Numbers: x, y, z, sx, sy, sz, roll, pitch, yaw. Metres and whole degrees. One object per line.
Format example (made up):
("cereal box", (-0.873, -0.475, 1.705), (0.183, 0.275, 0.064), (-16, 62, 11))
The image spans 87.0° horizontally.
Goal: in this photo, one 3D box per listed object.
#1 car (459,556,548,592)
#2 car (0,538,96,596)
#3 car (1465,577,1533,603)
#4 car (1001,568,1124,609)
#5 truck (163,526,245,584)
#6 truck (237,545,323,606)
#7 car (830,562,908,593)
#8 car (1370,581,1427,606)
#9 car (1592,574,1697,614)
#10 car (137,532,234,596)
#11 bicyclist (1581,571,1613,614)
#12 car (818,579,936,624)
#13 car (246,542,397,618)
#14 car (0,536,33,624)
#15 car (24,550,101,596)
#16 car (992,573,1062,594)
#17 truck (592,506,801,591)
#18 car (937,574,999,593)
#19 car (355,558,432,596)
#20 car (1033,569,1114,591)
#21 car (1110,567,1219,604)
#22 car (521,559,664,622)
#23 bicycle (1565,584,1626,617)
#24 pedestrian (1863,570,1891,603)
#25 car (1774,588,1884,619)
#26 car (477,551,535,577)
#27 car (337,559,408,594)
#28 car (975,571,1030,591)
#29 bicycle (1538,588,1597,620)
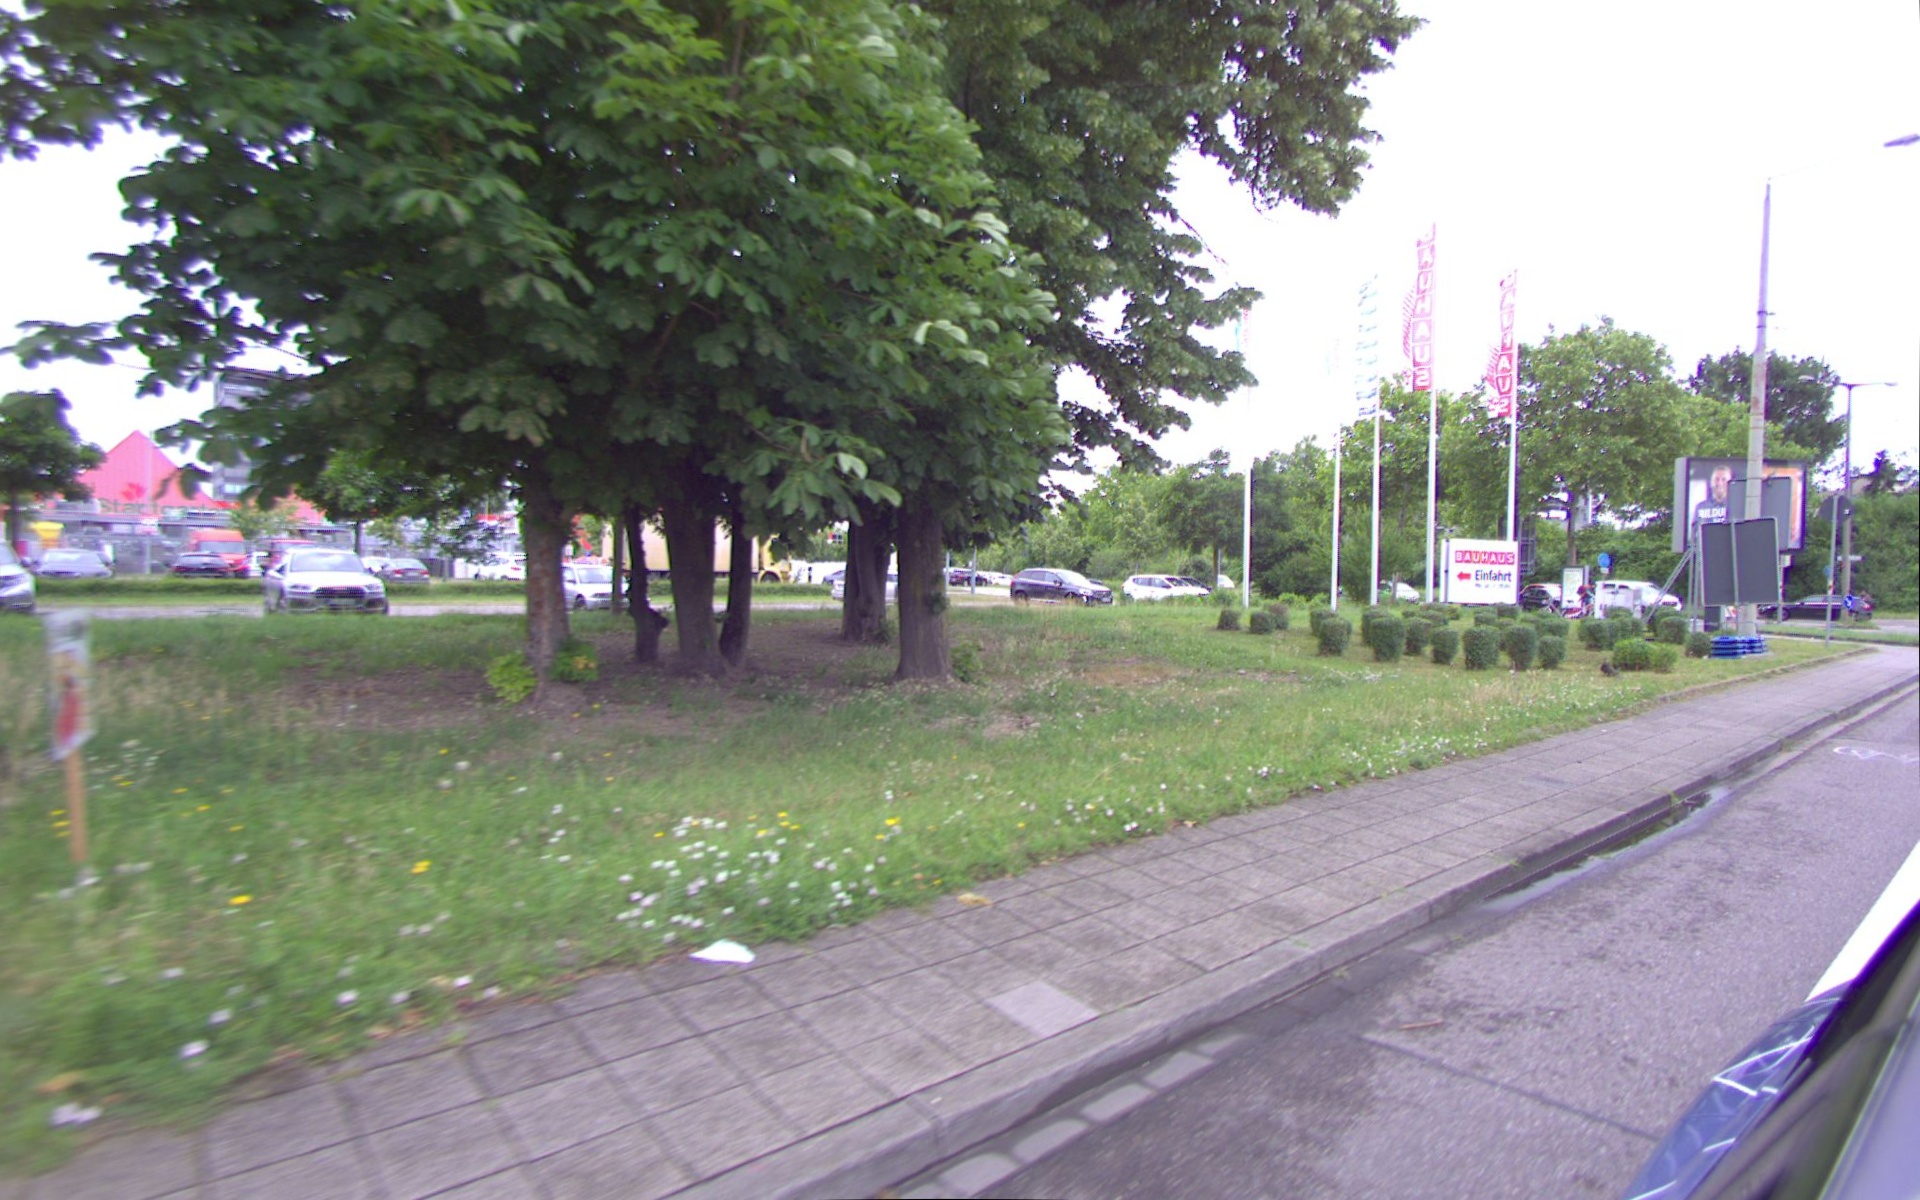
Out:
("car", (-23.530, -1.369, 52.115), (4.536, 1.697, 2.130), (2, 2, 33))
("car", (-28.991, -1.059, 32.069), (4.556, 1.697, 2.121), (3, 3, 45))
("car", (33.114, -0.633, 62.269), (1.662, 1.500, 4.072), (1, 2, -6))
("car", (3.918, -0.435, 39.329), (1.900, 1.516, 4.601), (-1, 1, -44))
("truck", (-37.424, -2.221, 50.003), (2.443, 2.667, 7.869), (0, 2, -43))
("truck", (-34.657, -1.333, 51.428), (2.443, 2.850, 7.869), (0, 2, -43))
("car", (-4.931, -1.213, 54.290), (1.952, 1.525, 4.564), (0, 2, -39))
("car", (28.826, -0.440, 66.696), (1.750, 1.552, 4.004), (-1, 1, -5))
("car", (33.896, -0.339, 50.257), (1.842, 1.851, 4.429), (-1, 2, -8))
("car", (-26.882, -1.271, 35.075), (4.556, 2.076, 2.121), (3, 3, 45))
("bicyclist", (23.673, -0.280, 37.612), (0.570, 1.538, 0.761), (1, 1, -24))
("car", (-3.336, 0.029, 41.107), (4.425, 1.691, 1.998), (-1, 1, -39))
("car", (-14.347, -0.416, 22.605), (2.133, 1.516, 4.681), (-1, 1, -42))
("car", (-18.510, -0.342, 18.686), (1.928, 1.516, 4.533), (-1, 1, -44))
("car", (-35.982, -1.108, 40.525), (2.120, 1.697, 4.557), (-1, 3, -44))
("car", (5.776, -1.417, 87.568), (5.608, 1.697, 2.160), (1, 2, -10))
("truck", (-12.082, -2.260, 47.166), (9.089, 3.609, 2.944), (-1, 1, -41))
("car", (0.765, -1.607, 97.739), (5.678, 1.697, 2.133), (2, 2, 30))
("car", (-27.408, -1.129, 48.881), (4.556, 1.697, 2.121), (3, 3, 45))
("car", (8.481, -1.514, 75.776), (5.608, 1.458, 2.160), (1, 2, -10))
("car", (8.656, -0.599, 43.093), (1.899, 1.516, 4.224), (-1, 1, -44))
("car", (-9.759, -0.252, 26.700), (1.900, 1.516, 4.446), (-1, 1, -44))
("bicycle", (23.643, 0.000, 37.710), (0.570, 1.163, 1.898), (1, 2, -24))
("pedestrian", (47.054, -0.686, 51.917), (0.732, 1.660, 0.776), (1, 1, 11))
("car", (42.934, 0.153, 50.040), (1.808, 1.442, 3.990), (0, 0, -44))
("car", (-30.967, -2.471, 69.007), (4.556, 1.697, 2.121), (3, 3, 45))
("car", (-30.673, -1.230, 52.775), (4.556, 1.697, 2.121), (3, 3, 45))
("car", (4.468, -2.038, 107.388), (5.617, 1.917, 2.156), (1, 2, 0))
("bicycle", (22.431, 0.133, 37.405), (1.779, 1.131, 0.487), (2, 1, 12))
